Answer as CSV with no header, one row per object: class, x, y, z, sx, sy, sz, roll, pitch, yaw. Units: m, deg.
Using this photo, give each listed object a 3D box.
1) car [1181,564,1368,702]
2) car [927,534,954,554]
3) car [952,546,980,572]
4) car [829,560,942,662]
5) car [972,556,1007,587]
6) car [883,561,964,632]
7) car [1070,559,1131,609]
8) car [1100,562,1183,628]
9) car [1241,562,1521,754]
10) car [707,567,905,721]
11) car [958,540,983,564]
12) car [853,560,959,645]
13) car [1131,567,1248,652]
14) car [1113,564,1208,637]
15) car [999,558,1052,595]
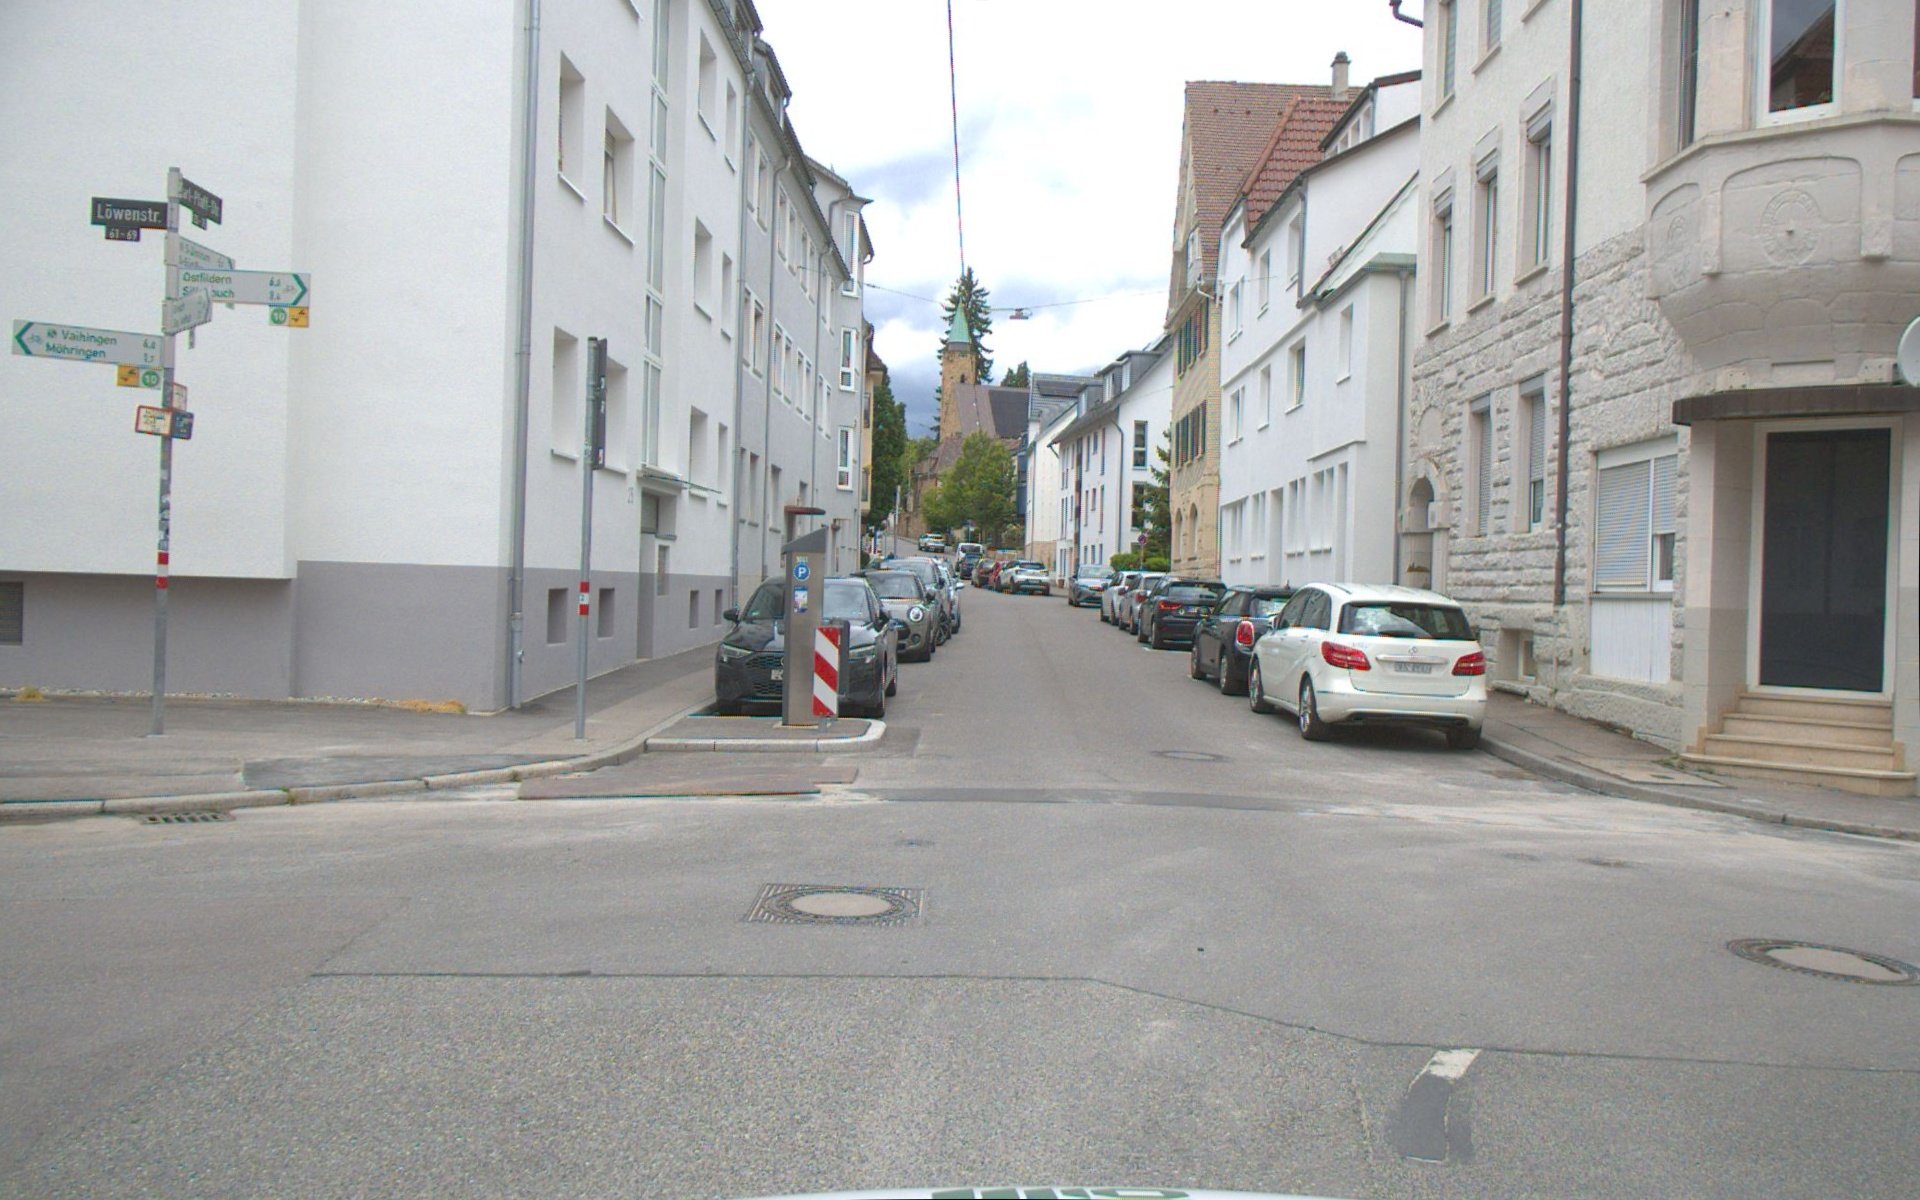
car,4.234,0.374,22.873,1.634,1.559,4.027,4,2,-2
car,-1.824,-5.215,154.176,2.140,1.722,3.622,2,2,-7
car,0.353,-2.605,103.524,1.634,1.504,3.626,2,2,-2
car,-1.168,0.131,27.273,1.695,1.515,3.719,1,2,-1
car,1.538,-1.516,86.751,1.634,1.504,3.626,2,2,-2
car,-0.795,-0.115,37.298,1.695,1.473,3.719,1,2,-1
car,4.833,-0.580,57.149,1.634,1.504,3.626,4,2,-2
car,4.781,-0.167,43.960,1.634,1.504,3.626,4,2,-2
car,4.330,0.507,17.668,1.783,1.626,4.027,4,2,-2
car,-1.556,0.386,18.139,1.783,1.415,4.298,1,2,-1
car,0.722,-3.352,115.271,1.634,1.504,3.626,2,2,-2
car,-0.989,0.004,32.113,1.694,1.495,3.721,1,2,3
car,4.532,0.142,33.182,1.634,1.408,4.027,4,2,-2
car,4.722,-0.026,39.375,1.634,1.504,3.626,4,2,-2
car,2.965,-1.110,75.792,1.751,1.504,3.620,2,2,-8
